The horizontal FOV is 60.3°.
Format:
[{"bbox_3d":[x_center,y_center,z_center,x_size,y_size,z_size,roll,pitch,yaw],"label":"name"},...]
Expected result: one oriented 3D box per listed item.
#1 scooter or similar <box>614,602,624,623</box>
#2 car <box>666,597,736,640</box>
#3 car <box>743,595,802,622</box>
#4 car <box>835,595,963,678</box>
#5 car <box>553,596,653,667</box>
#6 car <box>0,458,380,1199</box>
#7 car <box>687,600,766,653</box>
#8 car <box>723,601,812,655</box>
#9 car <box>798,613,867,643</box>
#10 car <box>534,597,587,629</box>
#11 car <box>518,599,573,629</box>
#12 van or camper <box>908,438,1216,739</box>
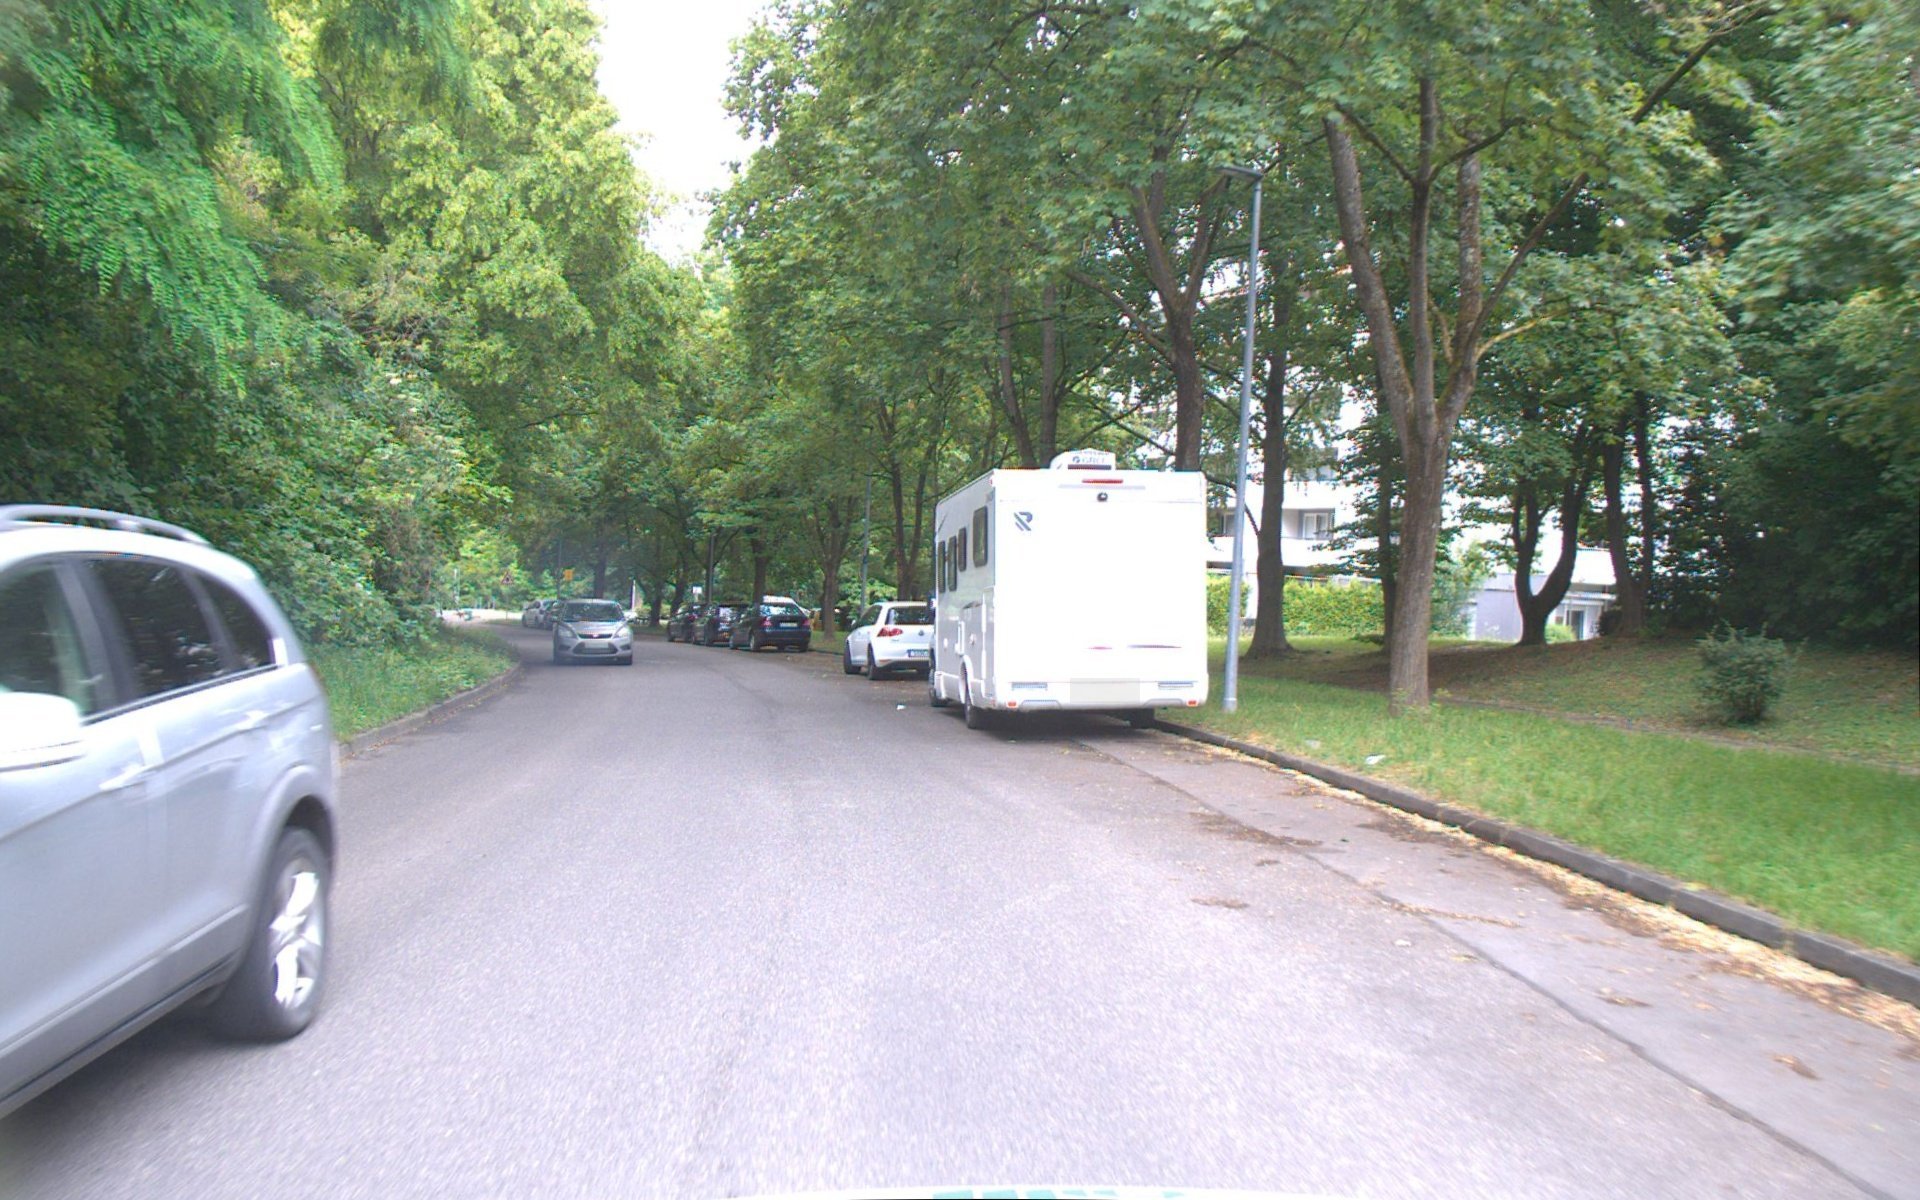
[{"bbox_3d":[-21.785,0.811,105.640,0.279,1.309,1.099,2,-1,-26],"label":"scooter or similar"},{"bbox_3d":[-9.450,0.651,60.111,1.659,1.490,3.871,1,0,-22],"label":"car"},{"bbox_3d":[-14.663,0.648,129.127,4.150,2.049,1.985,1,-1,-24],"label":"car"},{"bbox_3d":[-1.265,0.678,32.512,1.660,1.508,4.091,1,0,-14],"label":"car"},{"bbox_3d":[-8.262,0.709,38.559,1.759,1.534,3.996,1,0,-5],"label":"car"},{"bbox_3d":[-3.007,0.600,4.217,1.785,1.758,4.308,-2,0,-4],"label":"car"},{"bbox_3d":[-7.782,0.844,54.846,1.883,1.640,4.712,1,0,-17],"label":"car"},{"bbox_3d":[-5.724,0.794,48.884,1.566,1.491,4.289,1,0,-21],"label":"car"},{"bbox_3d":[-8.628,1.889,111.762,4.331,1.881,1.821,2,0,-20],"label":"car"},{"bbox_3d":[-20.496,0.664,84.757,1.752,1.549,4.147,1,0,-26],"label":"car"},{"bbox_3d":[-21.869,0.729,87.220,1.756,1.549,3.740,1,0,-32],"label":"car"},{"bbox_3d":[0.950,-0.093,20.549,2.379,3.032,7.380,1,0,-8],"label":"van or camper"}]
